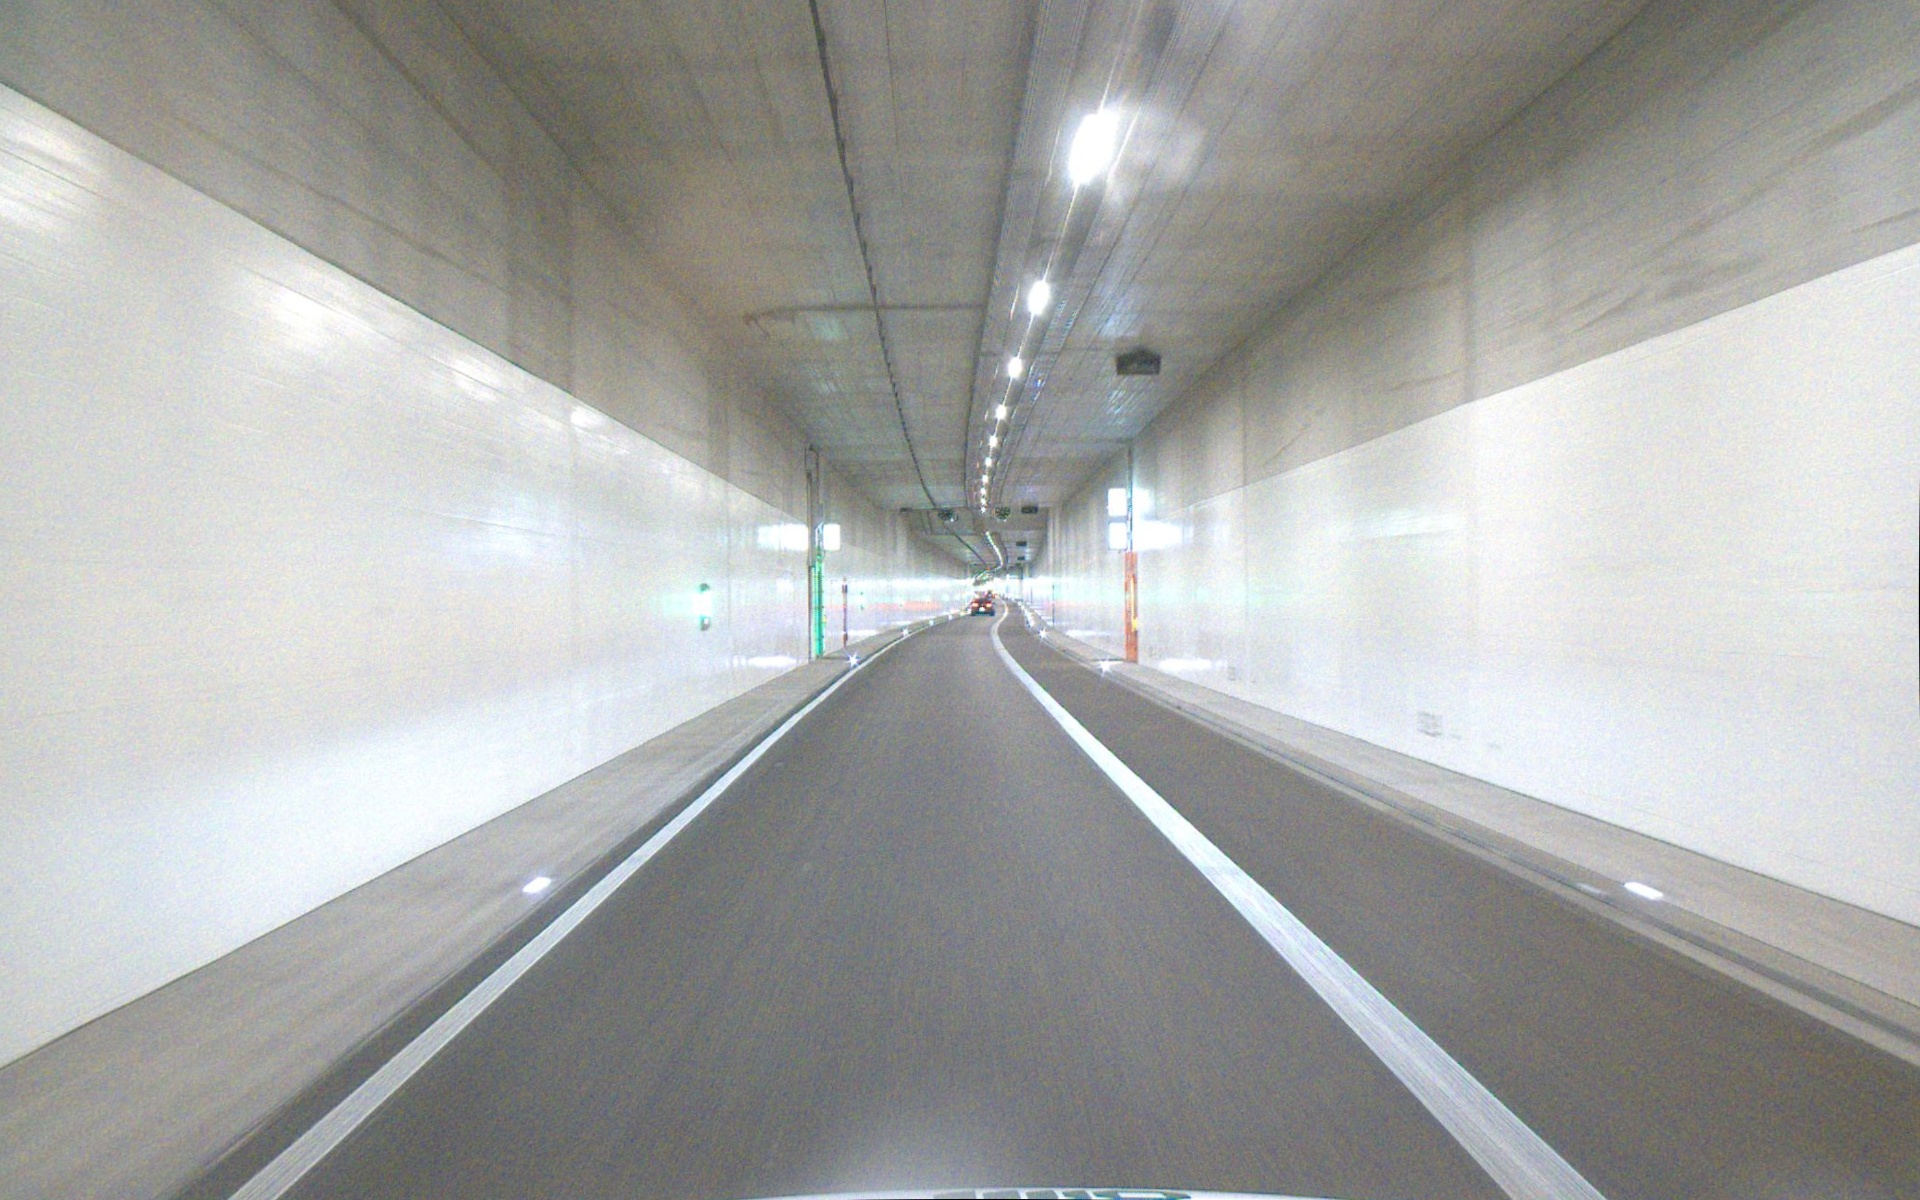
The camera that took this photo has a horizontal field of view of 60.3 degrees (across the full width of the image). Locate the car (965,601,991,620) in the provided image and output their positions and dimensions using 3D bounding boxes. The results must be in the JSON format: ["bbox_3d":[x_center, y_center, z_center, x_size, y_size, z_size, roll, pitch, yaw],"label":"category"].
[{"bbox_3d":[1.427,0.798,132.276,1.953,1.445,3.999,1,0,-1],"label":"car"}]
